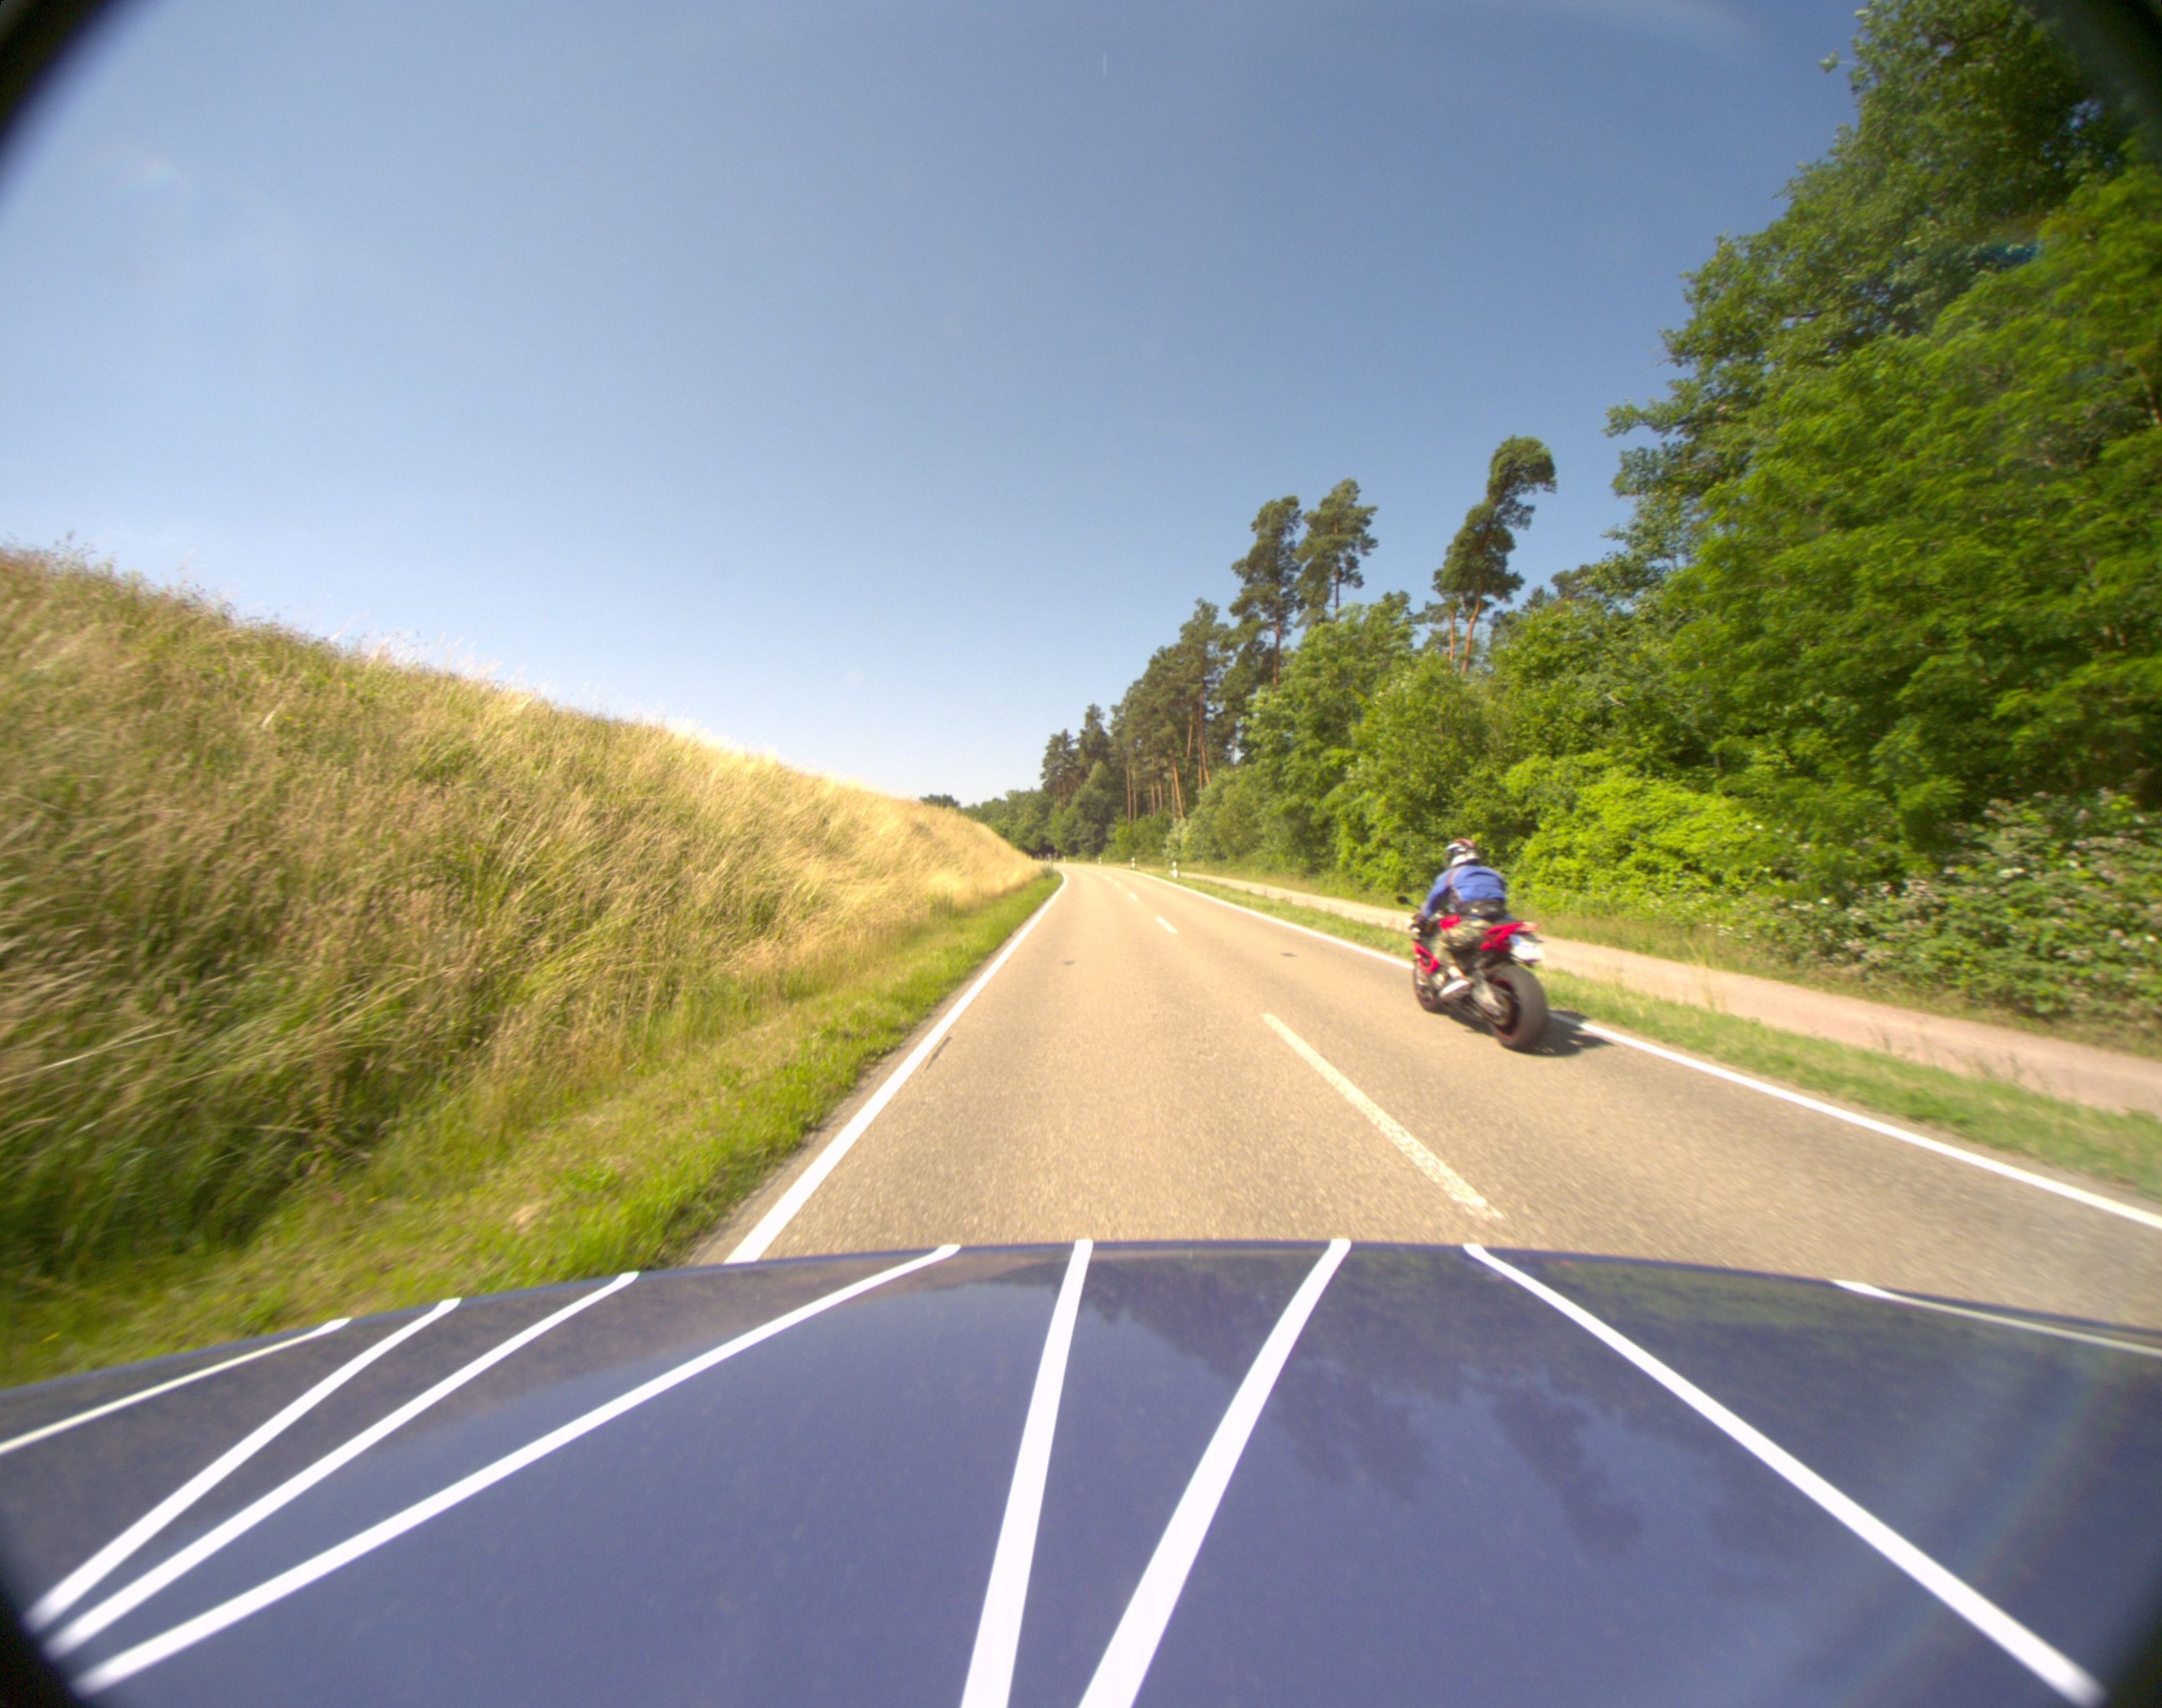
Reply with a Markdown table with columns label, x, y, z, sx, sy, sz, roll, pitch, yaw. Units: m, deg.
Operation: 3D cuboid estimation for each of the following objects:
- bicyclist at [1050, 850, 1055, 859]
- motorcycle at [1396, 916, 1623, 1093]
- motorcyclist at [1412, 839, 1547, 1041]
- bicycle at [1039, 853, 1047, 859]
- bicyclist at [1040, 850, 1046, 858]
| label | x | y | z | sx | sy | sz | roll | pitch | yaw |
| --- | --- | --- | --- | --- | --- | --- | --- | --- | --- |
| bicyclist | -5.645 | 0.158 | 151.778 | 0.604 | 1.709 | 0.790 | -1 | 3 | 30 |
| motorcycle | 3.241 | 1.071 | 6.014 | 0.640 | 0.979 | 2.006 | 2 | 0 | 0 |
| motorcyclist | 3.185 | 0.648 | 6.139 | 0.661 | 1.519 | 0.814 | -1 | 1 | -1 |
| bicycle | -7.881 | 0.403 | 156.618 | 0.605 | 0.824 | 1.988 | -14 | -3 | 28 |
| bicyclist | -7.813 | 0.081 | 156.874 | 0.605 | 1.535 | 0.872 | -14 | -3 | 28 |
